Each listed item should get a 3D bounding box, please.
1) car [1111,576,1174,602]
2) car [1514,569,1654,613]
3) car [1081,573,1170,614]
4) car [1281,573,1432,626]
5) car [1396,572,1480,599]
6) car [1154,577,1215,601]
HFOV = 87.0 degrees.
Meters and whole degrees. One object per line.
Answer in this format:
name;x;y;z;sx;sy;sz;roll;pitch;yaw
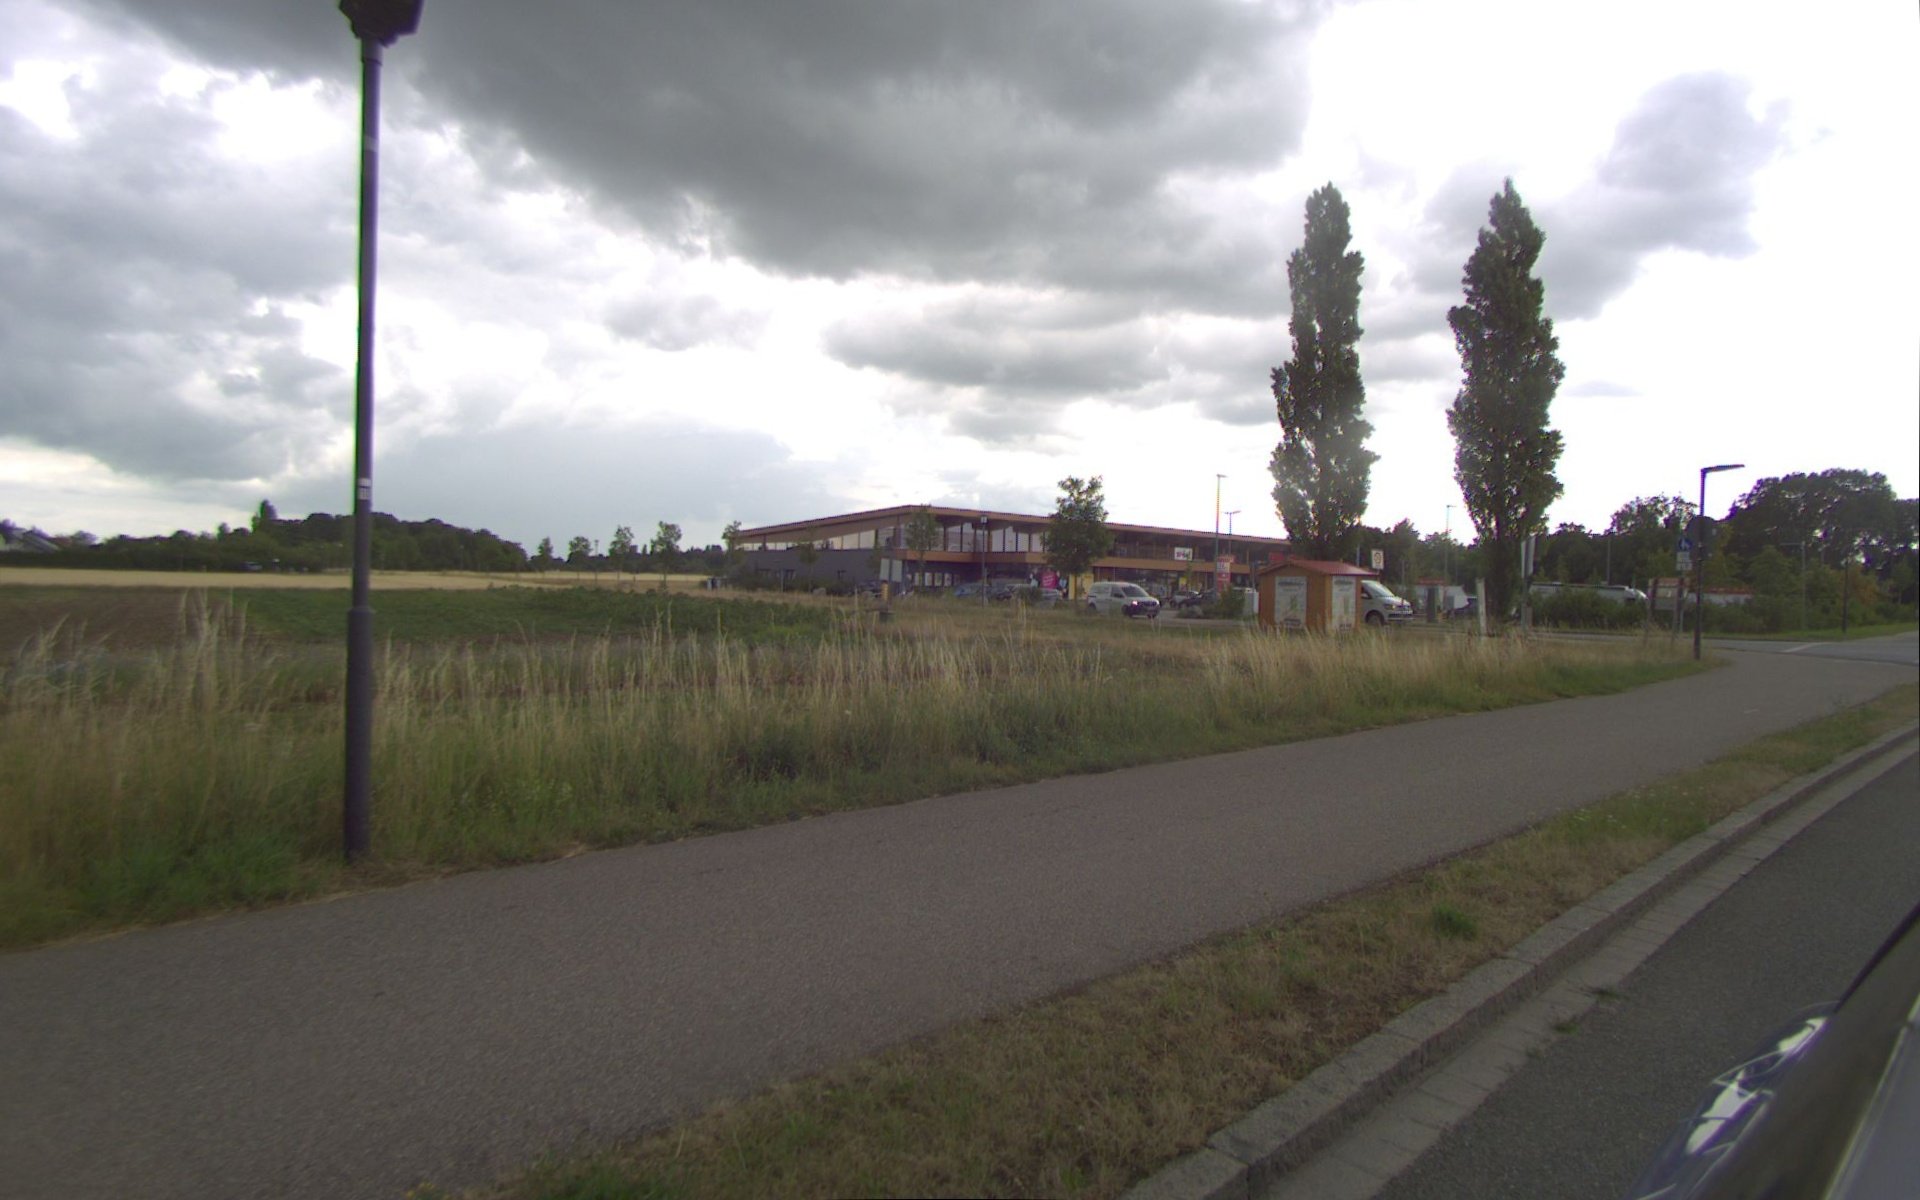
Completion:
car;14.940;-0.869;83.098;4.840;2.039;1.969;0;0;43
car;30.191;-0.409;49.107;5.510;2.039;1.968;0;0;44
car;8.600;-0.356;53.119;1.959;2.039;5.327;-1;0;-24
car;16.423;-0.040;42.181;2.516;2.039;5.312;-1;0;-39
car;36.698;-1.074;77.847;5.510;2.039;1.968;0;0;44
car;19.502;-0.906;88.033;4.840;2.039;1.969;0;0;43
